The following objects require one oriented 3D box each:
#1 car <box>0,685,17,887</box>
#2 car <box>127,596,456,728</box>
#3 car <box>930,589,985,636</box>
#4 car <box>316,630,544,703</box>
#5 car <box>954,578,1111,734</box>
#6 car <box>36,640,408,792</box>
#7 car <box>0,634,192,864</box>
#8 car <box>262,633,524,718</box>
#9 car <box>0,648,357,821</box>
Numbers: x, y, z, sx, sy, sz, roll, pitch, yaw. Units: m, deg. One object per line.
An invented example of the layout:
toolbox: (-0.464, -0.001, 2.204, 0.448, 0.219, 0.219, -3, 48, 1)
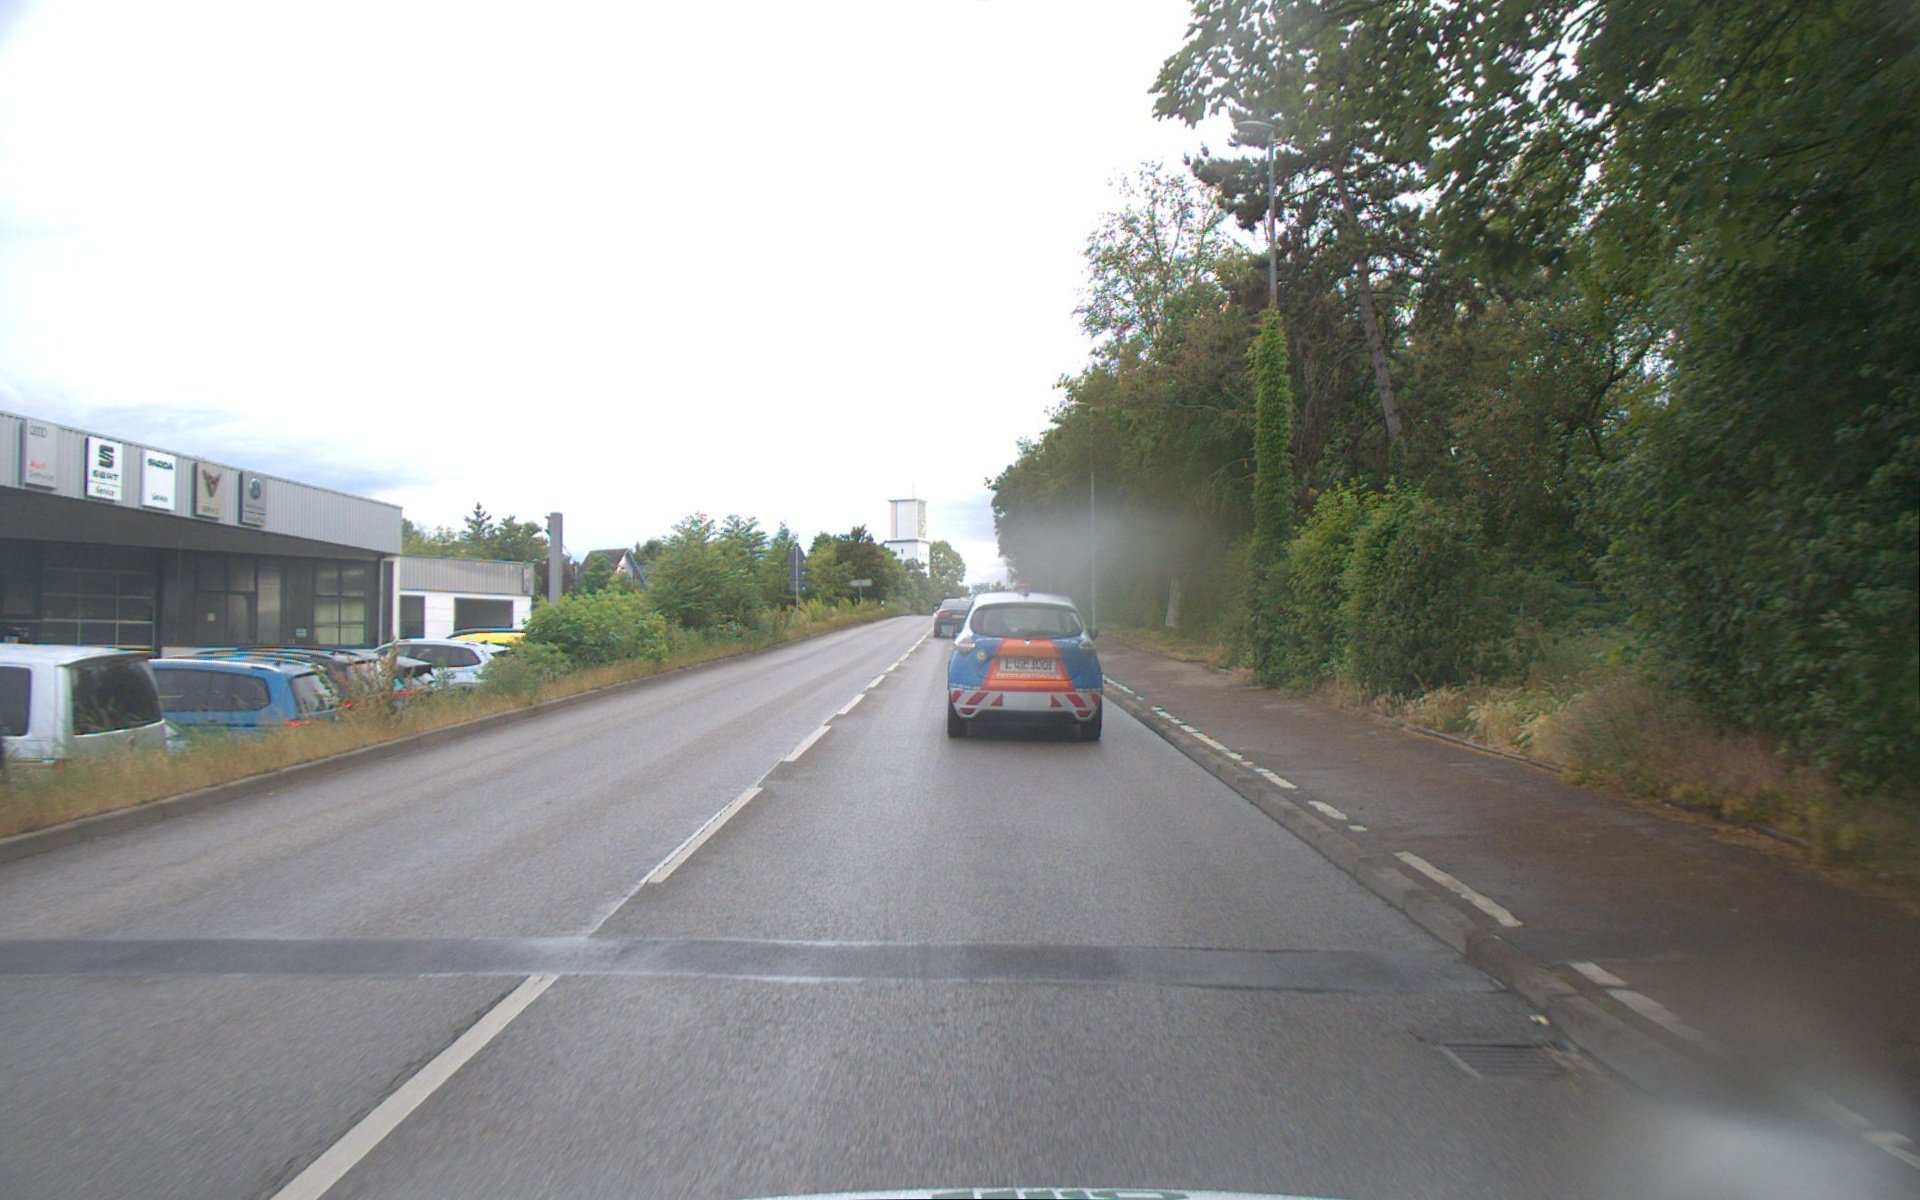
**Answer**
car: (-9.188, 1.439, 11.720, 3.928, 1.504, 1.823, -1, 0, -2)
car: (-9.911, 0.888, 24.784, 4.142, 1.829, 1.873, -1, 0, -4)
car: (-0.107, 0.463, 60.198, 1.766, 1.618, 3.560, -1, -1, -3)
car: (-10.490, 1.309, 32.959, 3.982, 1.313, 1.803, -1, 0, -4)
car: (0.764, 0.620, 18.984, 1.623, 1.621, 3.568, 0, -1, 0)
car: (-9.799, 1.514, 22.229, 4.142, 1.829, 1.873, -1, 0, -4)
car: (-9.348, 1.267, 14.471, 4.323, 1.829, 1.934, -1, 0, -2)
car: (-10.286, 1.360, 30.252, 4.142, 1.392, 1.873, -1, 0, -4)
car: (-9.711, 1.551, 19.697, 4.325, 1.829, 2.001, -1, 0, -4)
